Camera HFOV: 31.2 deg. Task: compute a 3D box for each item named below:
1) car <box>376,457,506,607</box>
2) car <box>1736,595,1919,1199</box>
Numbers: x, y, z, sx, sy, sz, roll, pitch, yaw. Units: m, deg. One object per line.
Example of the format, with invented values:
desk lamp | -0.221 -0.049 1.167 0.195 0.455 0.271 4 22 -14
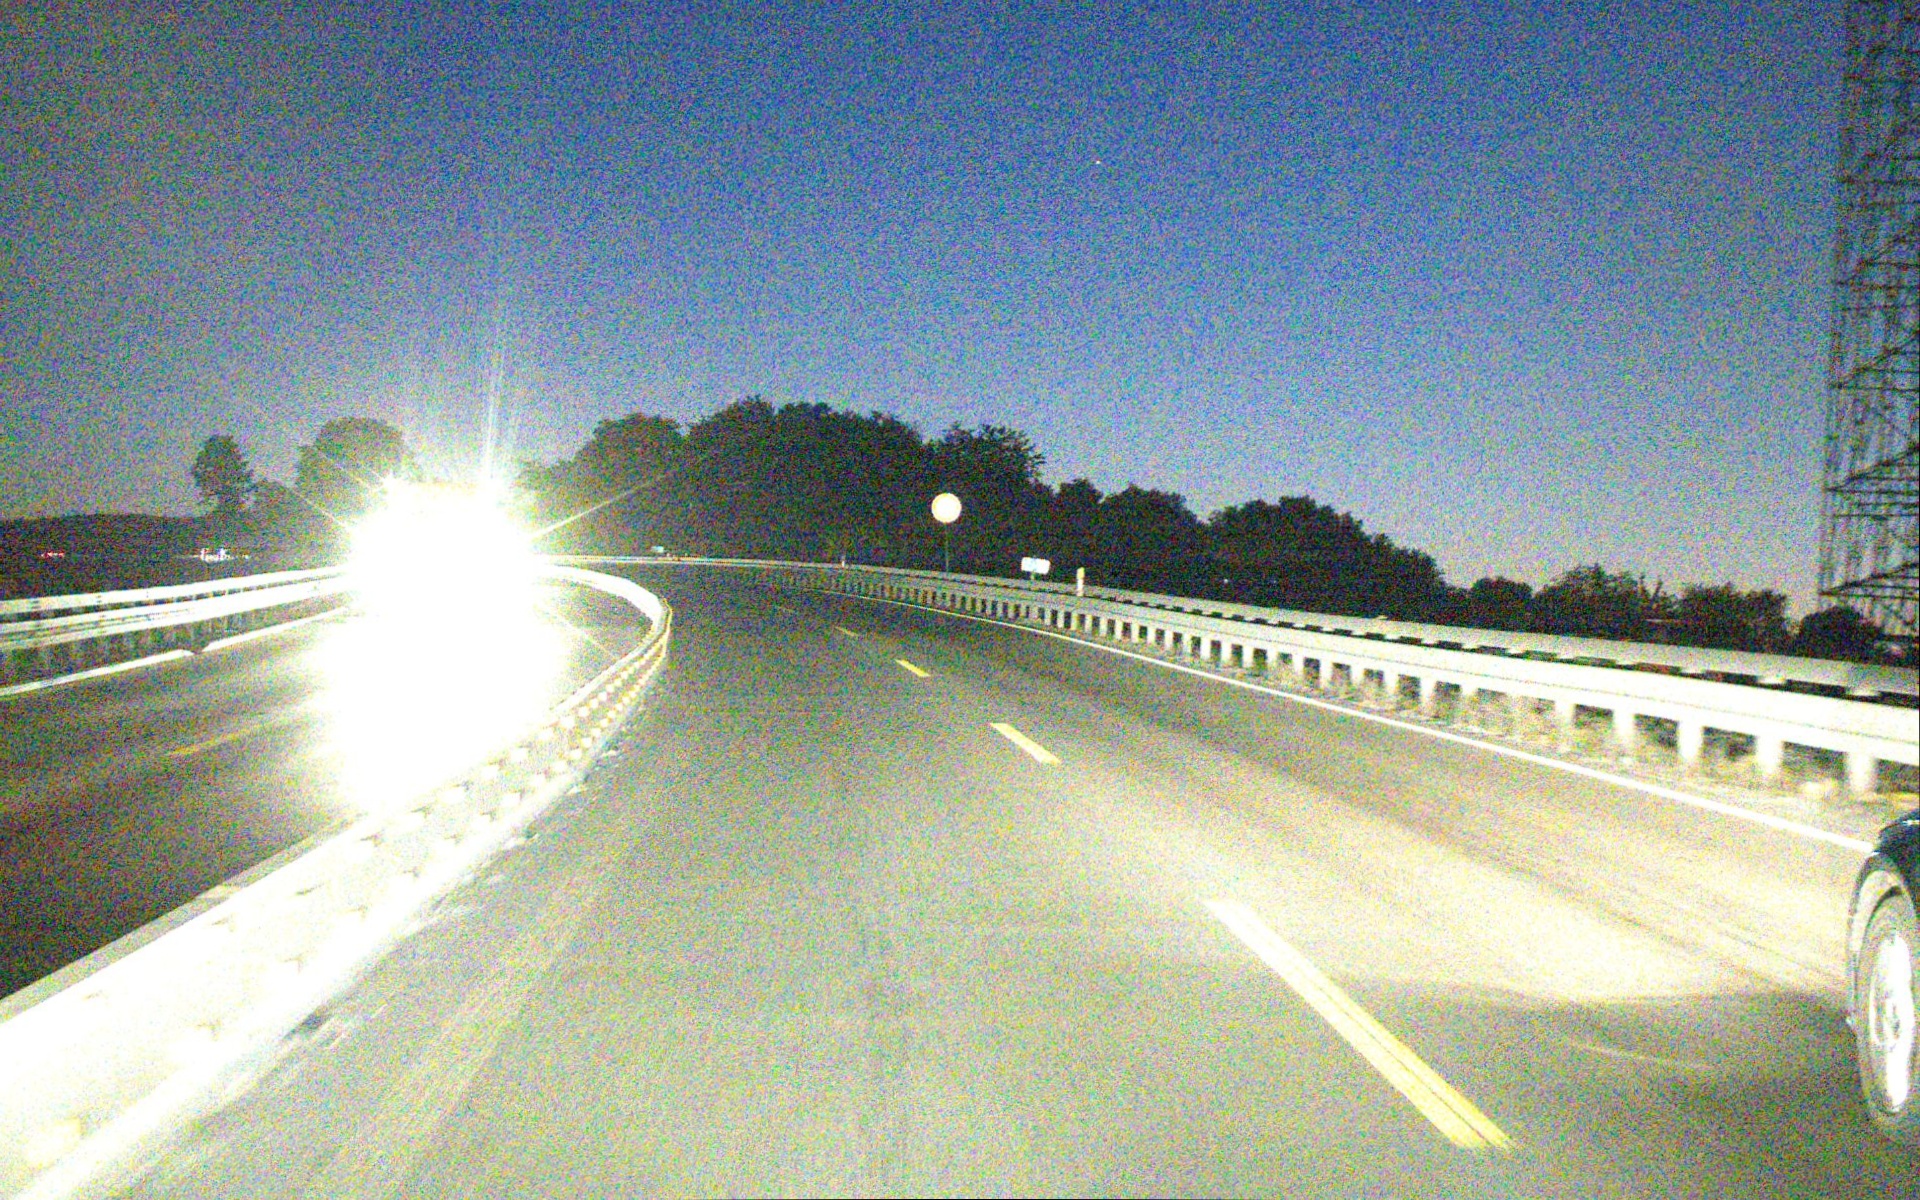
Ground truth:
car | -11.154 -1.399 74.371 2.485 3.095 7.387 0 0 -6
car | 3.221 0.719 7.347 1.808 1.422 4.875 0 1 -3
